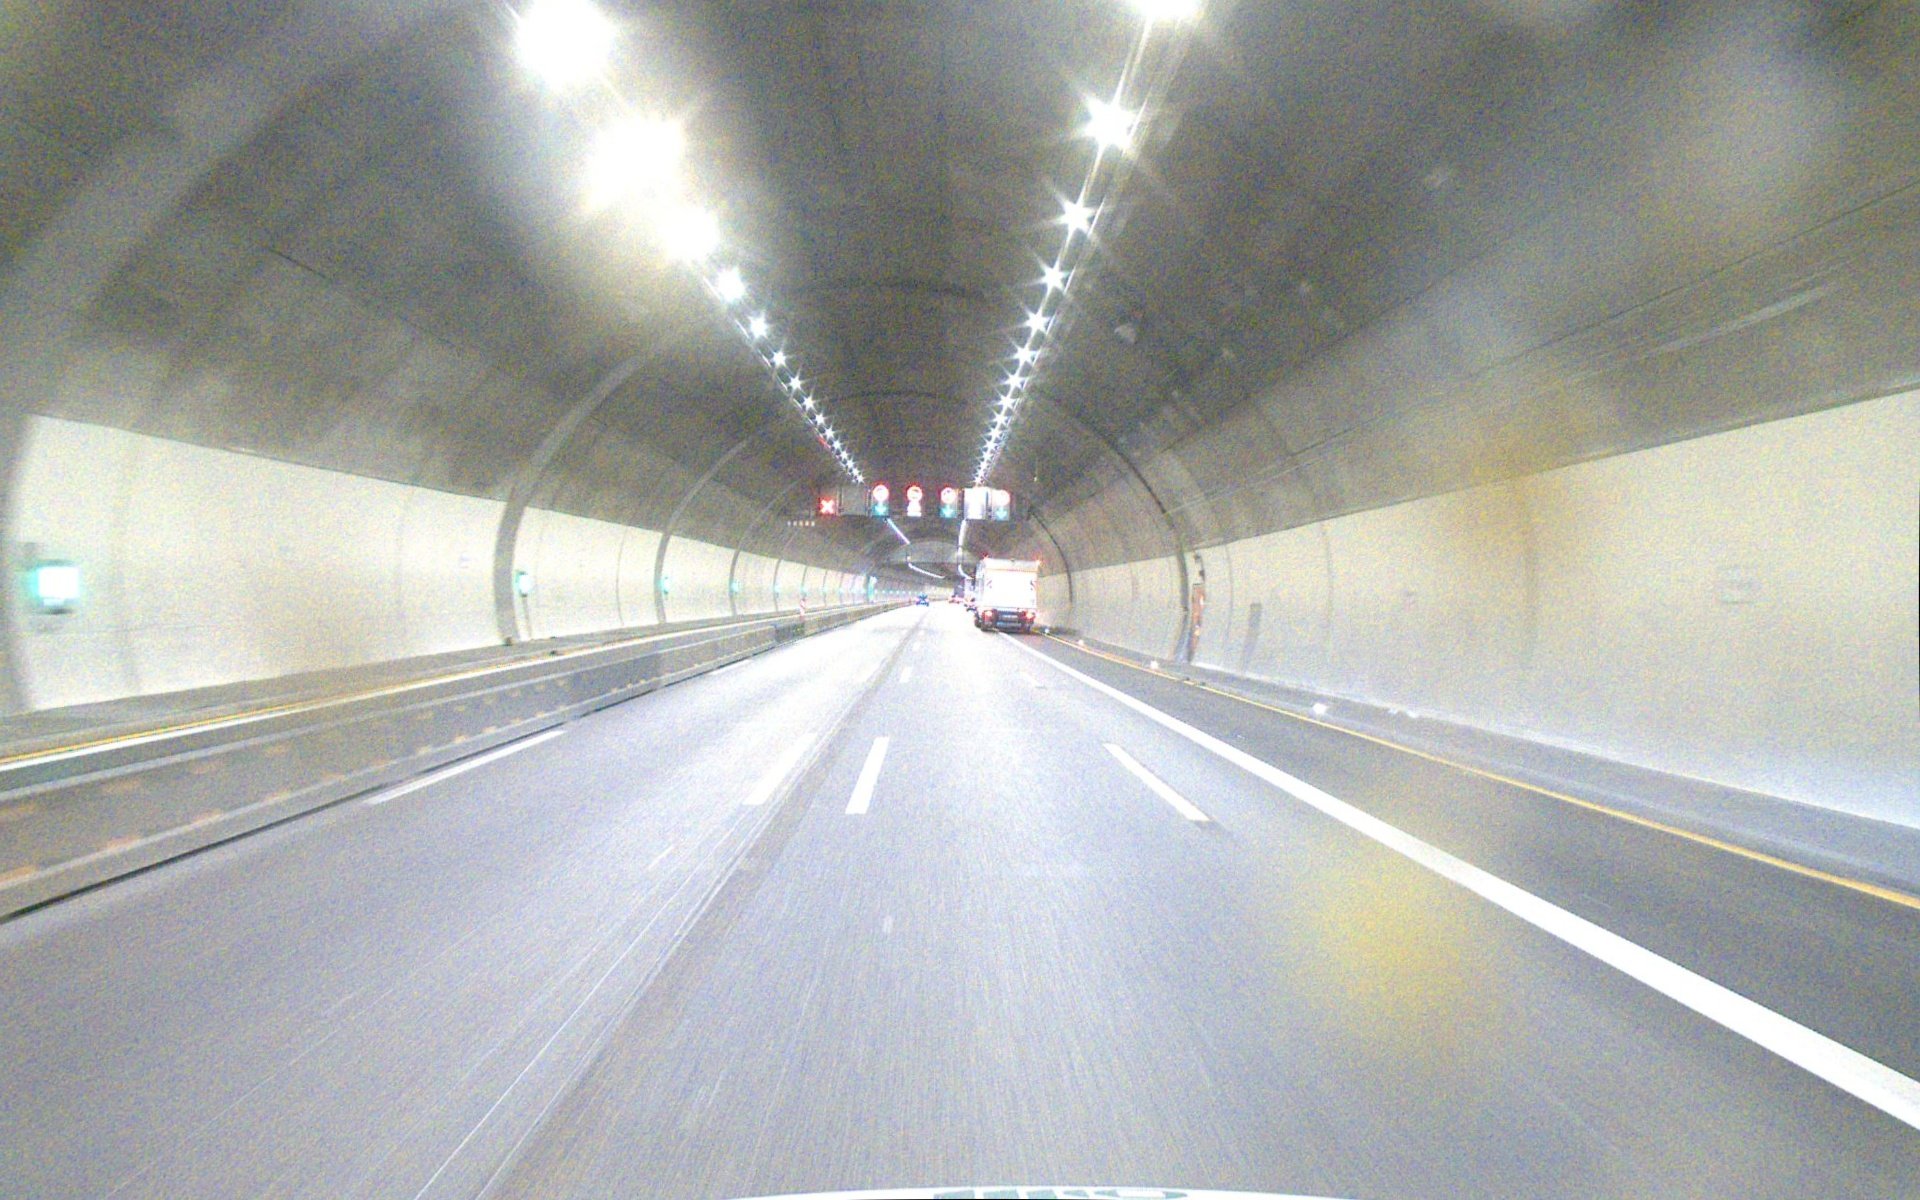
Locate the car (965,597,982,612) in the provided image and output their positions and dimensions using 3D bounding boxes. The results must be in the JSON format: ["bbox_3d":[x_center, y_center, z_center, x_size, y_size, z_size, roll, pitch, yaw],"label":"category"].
[{"bbox_3d":[1.368,0.425,170.999,1.703,1.486,3.961,1,1,1],"label":"car"}]

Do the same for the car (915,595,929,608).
[{"bbox_3d":[-4.734,0.135,205.957,1.723,1.486,4.118,1,1,0],"label":"car"}]

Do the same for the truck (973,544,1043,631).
[{"bbox_3d":[2.258,-0.530,81.970,3.029,3.986,10.366,2,-1,0],"label":"truck"}]

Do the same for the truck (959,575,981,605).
[{"bbox_3d":[1.436,-1.415,239.745,3.003,3.986,10.368,2,-1,1],"label":"truck"}]
